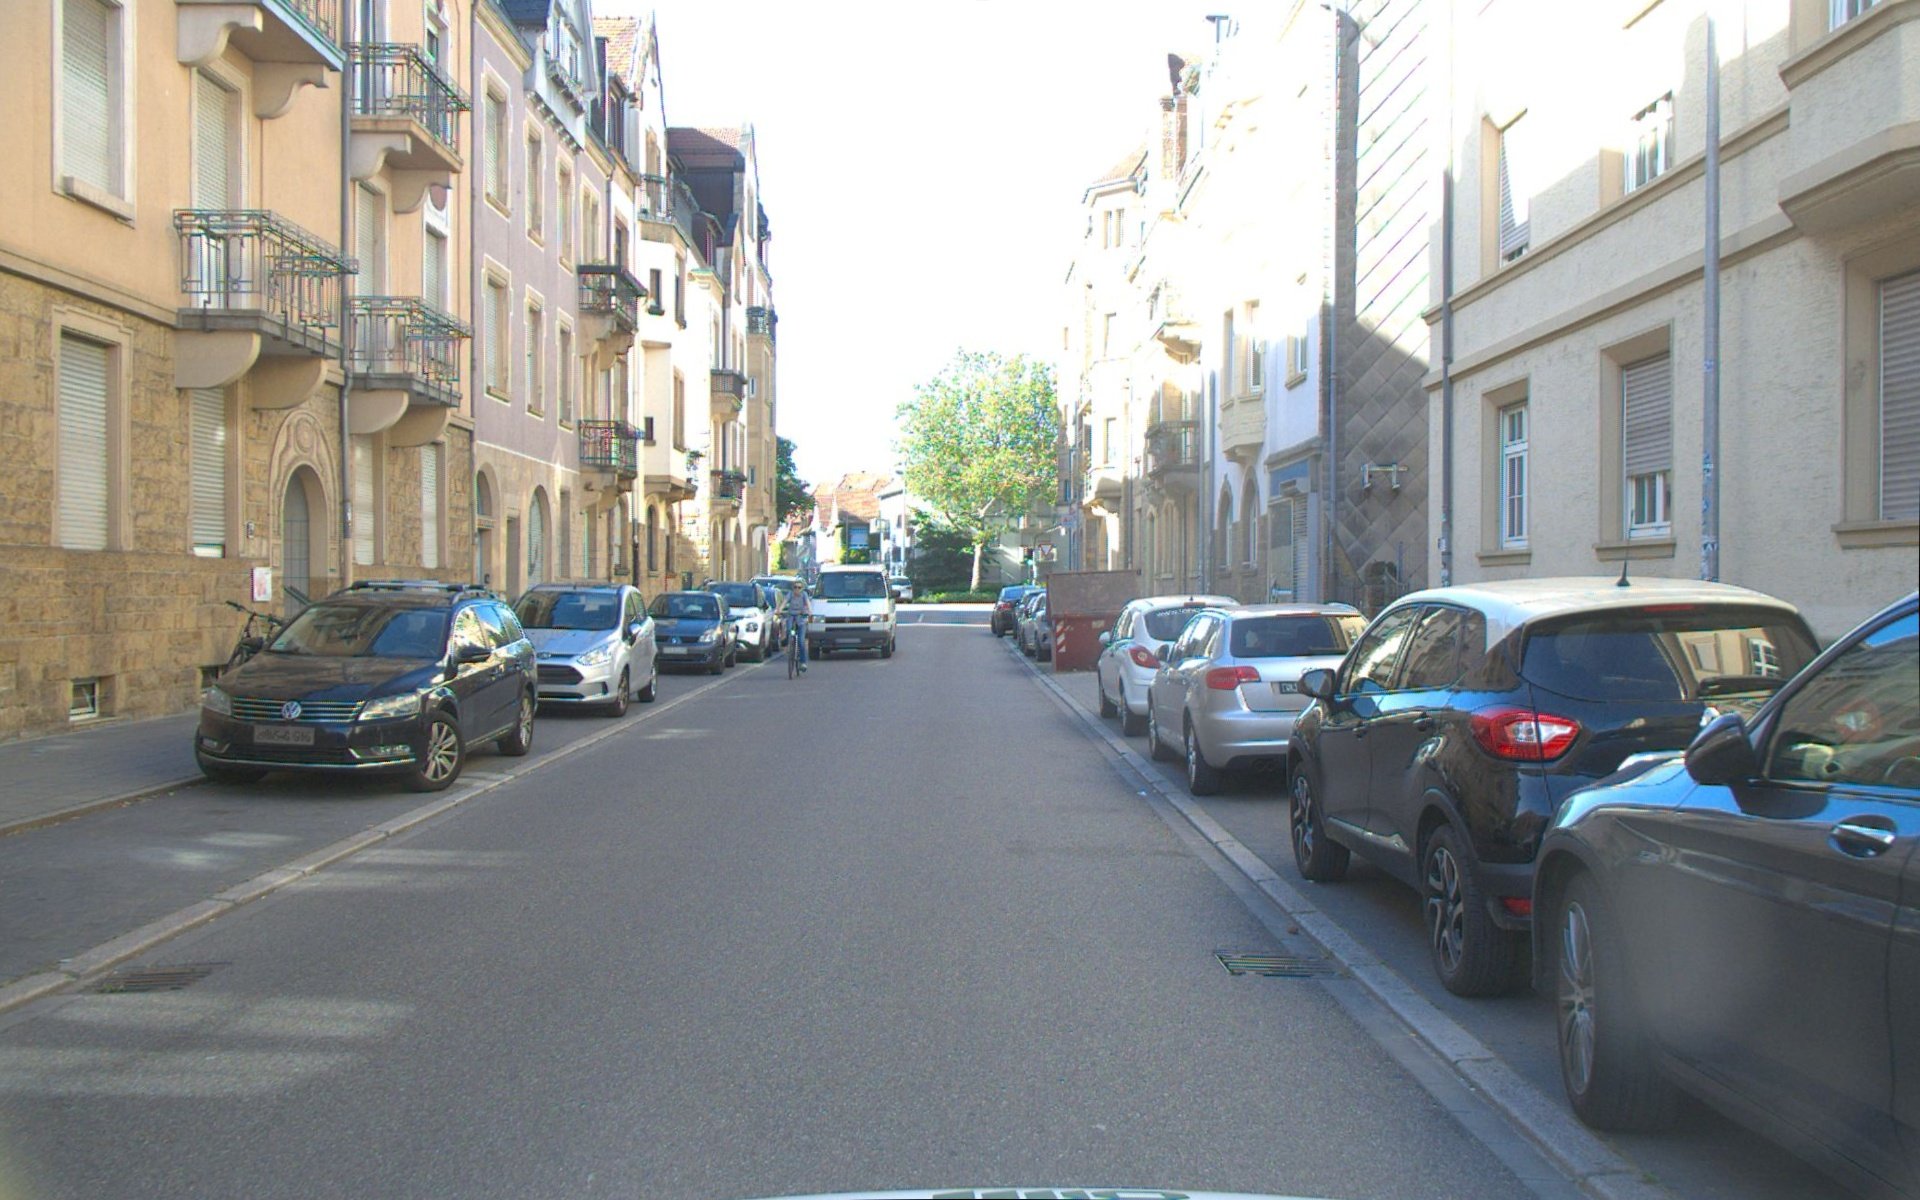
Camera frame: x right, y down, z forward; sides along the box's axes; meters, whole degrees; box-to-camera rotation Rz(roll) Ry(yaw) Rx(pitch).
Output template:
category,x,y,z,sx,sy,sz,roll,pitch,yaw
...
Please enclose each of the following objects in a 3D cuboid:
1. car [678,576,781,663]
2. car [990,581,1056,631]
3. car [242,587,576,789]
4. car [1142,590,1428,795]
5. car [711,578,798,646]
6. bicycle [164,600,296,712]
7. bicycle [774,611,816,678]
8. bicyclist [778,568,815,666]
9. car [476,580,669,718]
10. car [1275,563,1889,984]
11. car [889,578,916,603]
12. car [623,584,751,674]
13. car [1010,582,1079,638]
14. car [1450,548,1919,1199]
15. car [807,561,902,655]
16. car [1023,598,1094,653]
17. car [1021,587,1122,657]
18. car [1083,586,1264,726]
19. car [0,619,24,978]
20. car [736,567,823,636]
category,x,y,z,sx,sy,sz,roll,pitch,yaw
car,-4.781,0.357,34.748,1.680,1.610,4.019,3,1,-2
car,1.914,0.163,51.441,1.827,1.487,4.339,0,1,-1
car,-4.753,0.665,14.893,1.680,1.548,4.109,0,1,-1
car,2.637,0.671,14.303,1.619,1.490,4.094,0,1,-1
car,-4.933,0.254,40.199,1.541,1.513,4.280,2,1,0
bicycle,-8.125,0.603,18.492,0.650,1.180,1.846,1,0,-1
bicycle,-2.881,0.758,28.935,0.529,1.095,1.800,0,1,1
bicyclist,-2.869,0.289,29.068,0.595,1.694,0.632,0,0,0
car,-4.797,0.547,20.960,1.680,1.565,3.722,0,1,-2
car,2.730,0.634,8.232,1.645,1.573,3.915,-1,1,1
car,-3.605,-0.608,103.438,1.640,1.508,3.520,1,0,-2
car,-4.896,0.480,30.126,1.638,1.417,3.666,3,1,0
car,2.343,0.240,46.605,1.618,1.467,4.257,-1,1,-1
car,2.615,0.745,3.799,1.750,1.693,4.435,0,1,1
car,-2.292,0.138,36.998,1.825,1.971,4.599,0,1,0
car,2.412,0.595,41.087,1.657,1.276,3.942,0,0,2
car,2.410,0.450,36.598,1.750,1.454,3.805,0,1,-3
car,2.443,0.589,19.689,1.554,1.490,3.710,0,1,-2
car,-4.584,0.757,4.606,1.680,1.410,3.865,3,1,0
car,-5.085,0.008,47.175,1.853,1.752,4.726,3,1,0
